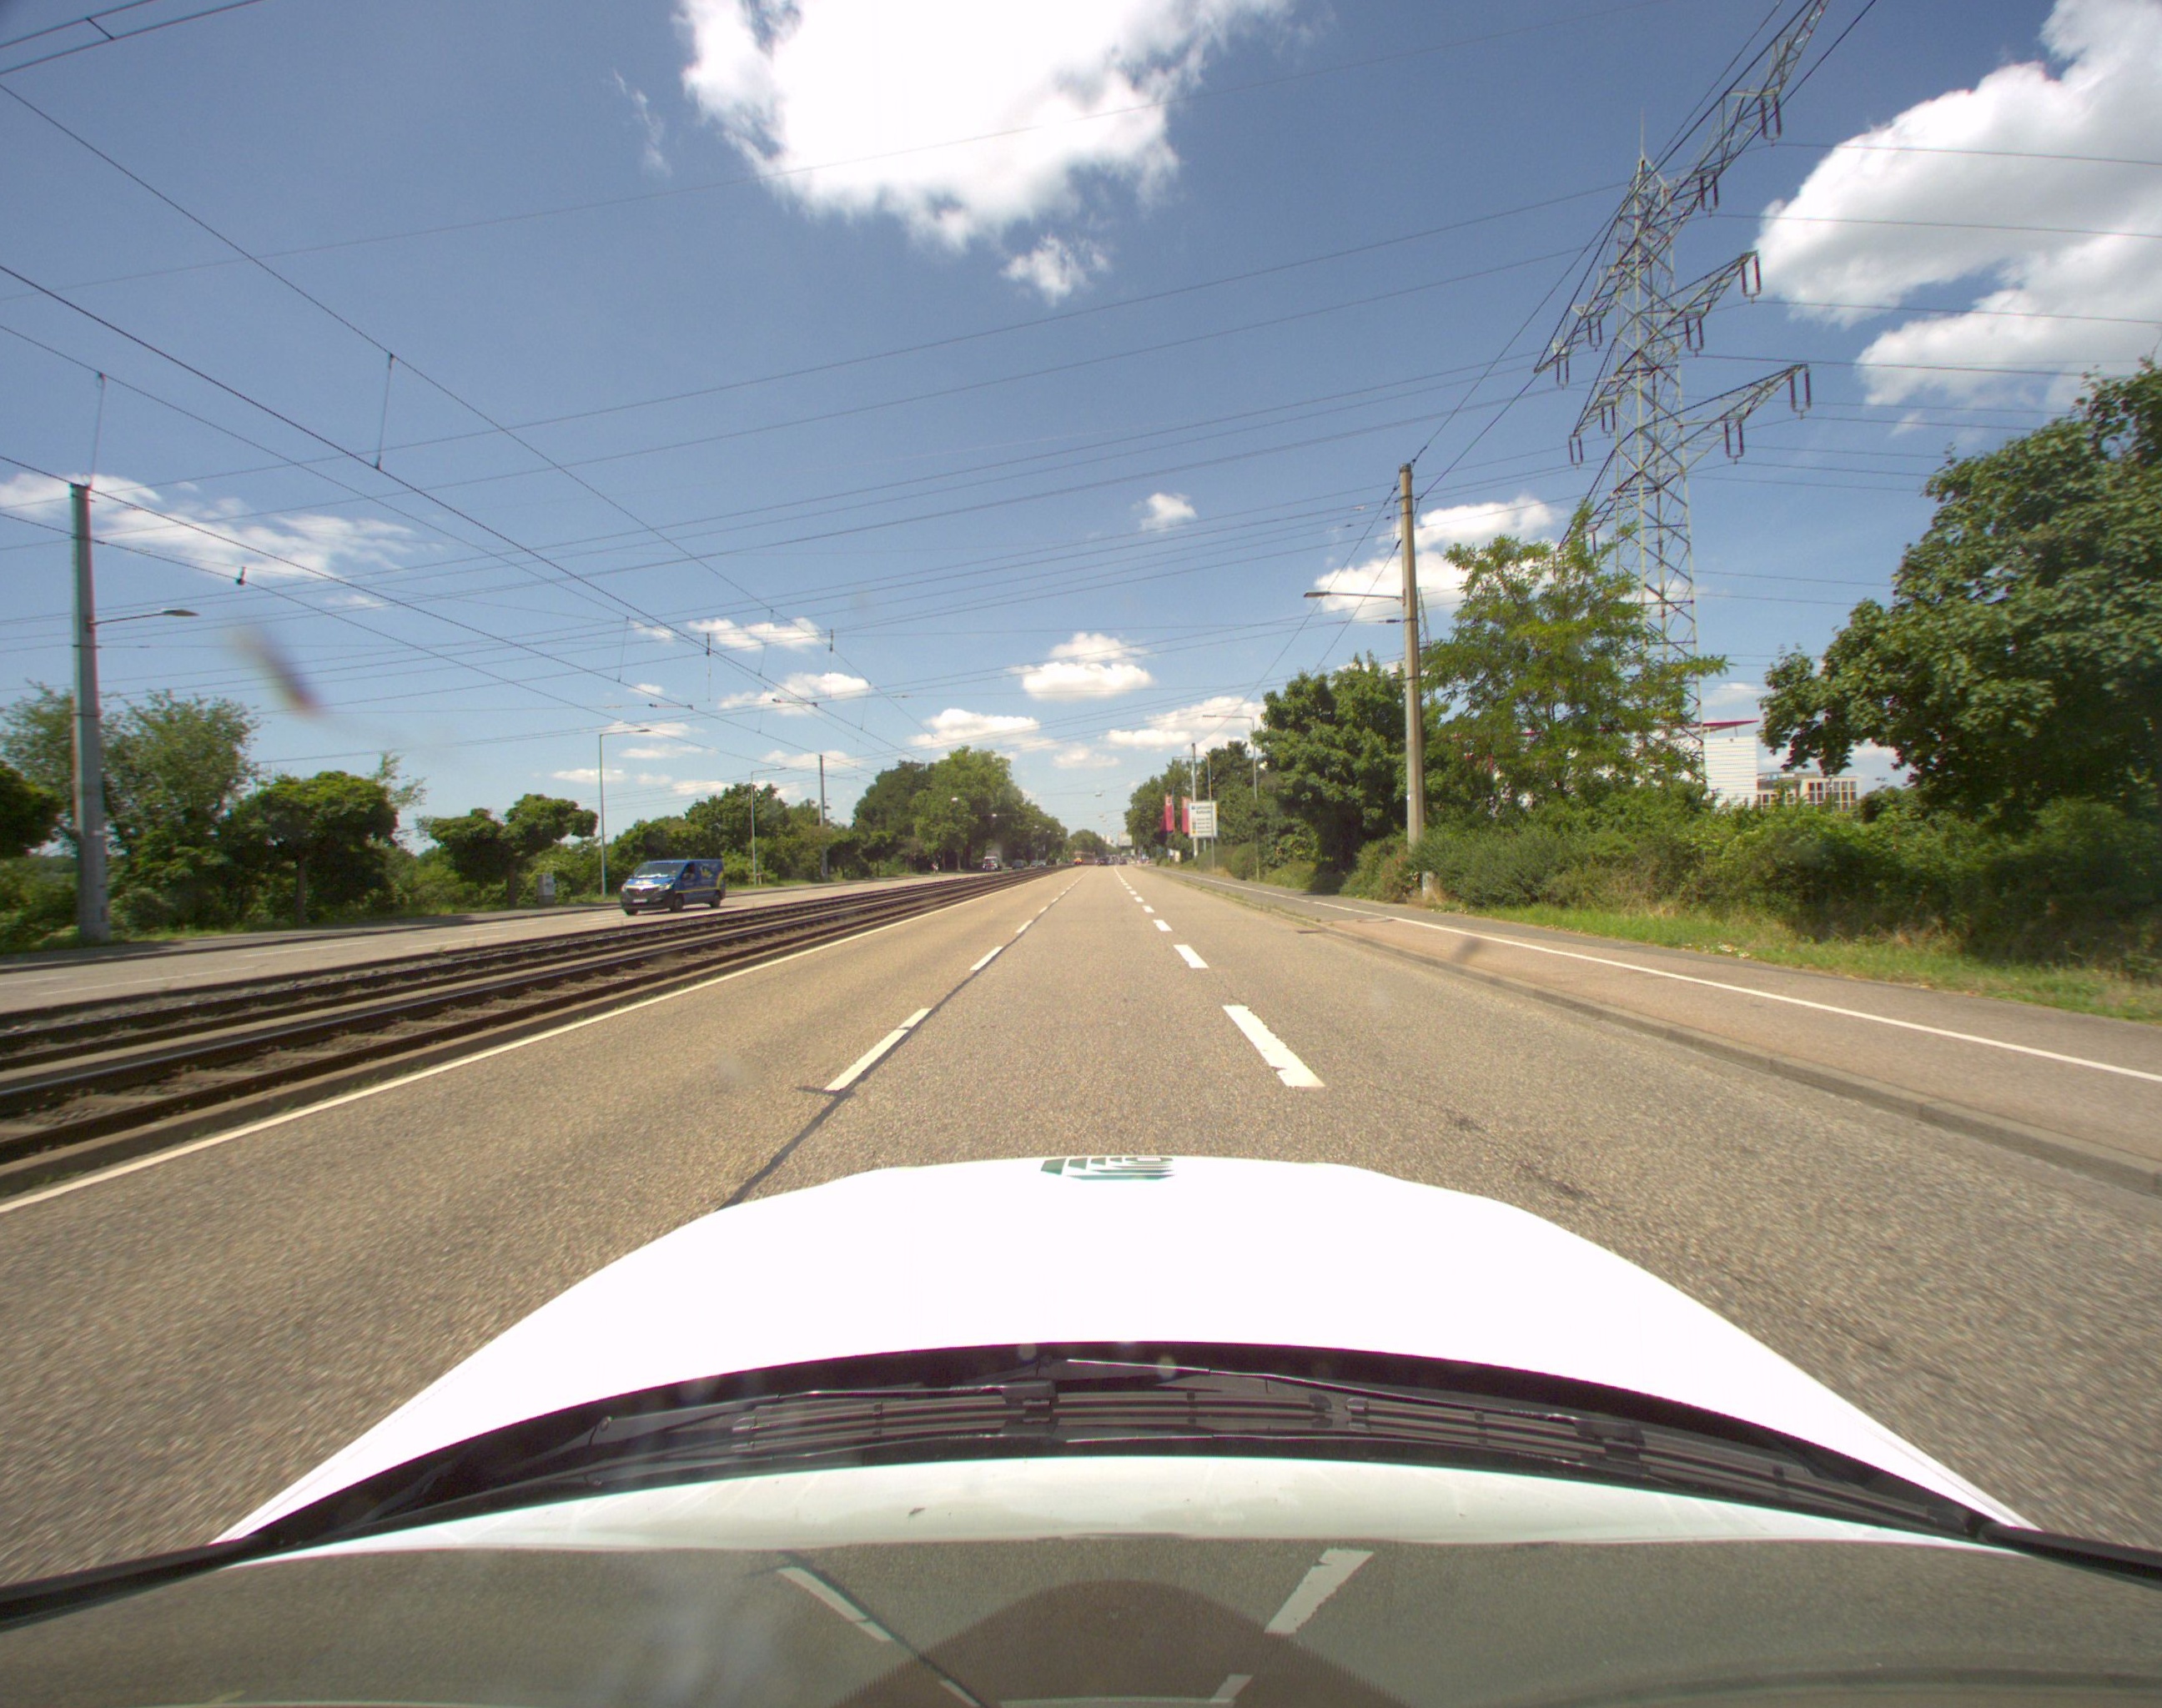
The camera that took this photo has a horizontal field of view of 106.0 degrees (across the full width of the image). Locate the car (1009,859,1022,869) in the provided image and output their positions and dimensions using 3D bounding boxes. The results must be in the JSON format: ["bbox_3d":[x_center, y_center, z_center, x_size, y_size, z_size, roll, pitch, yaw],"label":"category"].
[{"bbox_3d":[-11.319,1.762,141.420,1.746,1.535,3.957,-3,0,1],"label":"car"}]

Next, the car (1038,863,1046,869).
[{"bbox_3d":[-9.098,2.766,189.510,1.631,1.436,3.722,-3,0,1],"label":"car"}]

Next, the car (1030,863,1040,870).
[{"bbox_3d":[-9.612,2.637,171.003,1.630,1.421,4.130,-3,0,2],"label":"car"}]

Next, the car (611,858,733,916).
[{"bbox_3d":[-15.251,1.153,30.739,1.850,1.928,5.009,-3,0,1],"label":"car"}]

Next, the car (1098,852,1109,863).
[{"bbox_3d":[4.124,0.652,147.507,1.892,1.805,3.977,0,-1,1],"label":"car"}]

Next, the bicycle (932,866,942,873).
[{"bbox_3d":[-17.677,1.927,100.208,0.647,0.859,2.123,0,0,6],"label":"bicycle"}]

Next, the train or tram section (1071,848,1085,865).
[{"bbox_3d":[-0.743,0.717,224.691,3.035,4.267,15.434,-2,0,3],"label":"train or tram section"}]

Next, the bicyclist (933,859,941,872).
[{"bbox_3d":[-17.683,1.427,100.159,0.647,1.620,1.157,0,0,5],"label":"bicyclist"}]

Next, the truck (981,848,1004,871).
[{"bbox_3d":[-13.036,0.865,120.239,2.240,3.236,6.047,-2,0,3],"label":"truck"}]
